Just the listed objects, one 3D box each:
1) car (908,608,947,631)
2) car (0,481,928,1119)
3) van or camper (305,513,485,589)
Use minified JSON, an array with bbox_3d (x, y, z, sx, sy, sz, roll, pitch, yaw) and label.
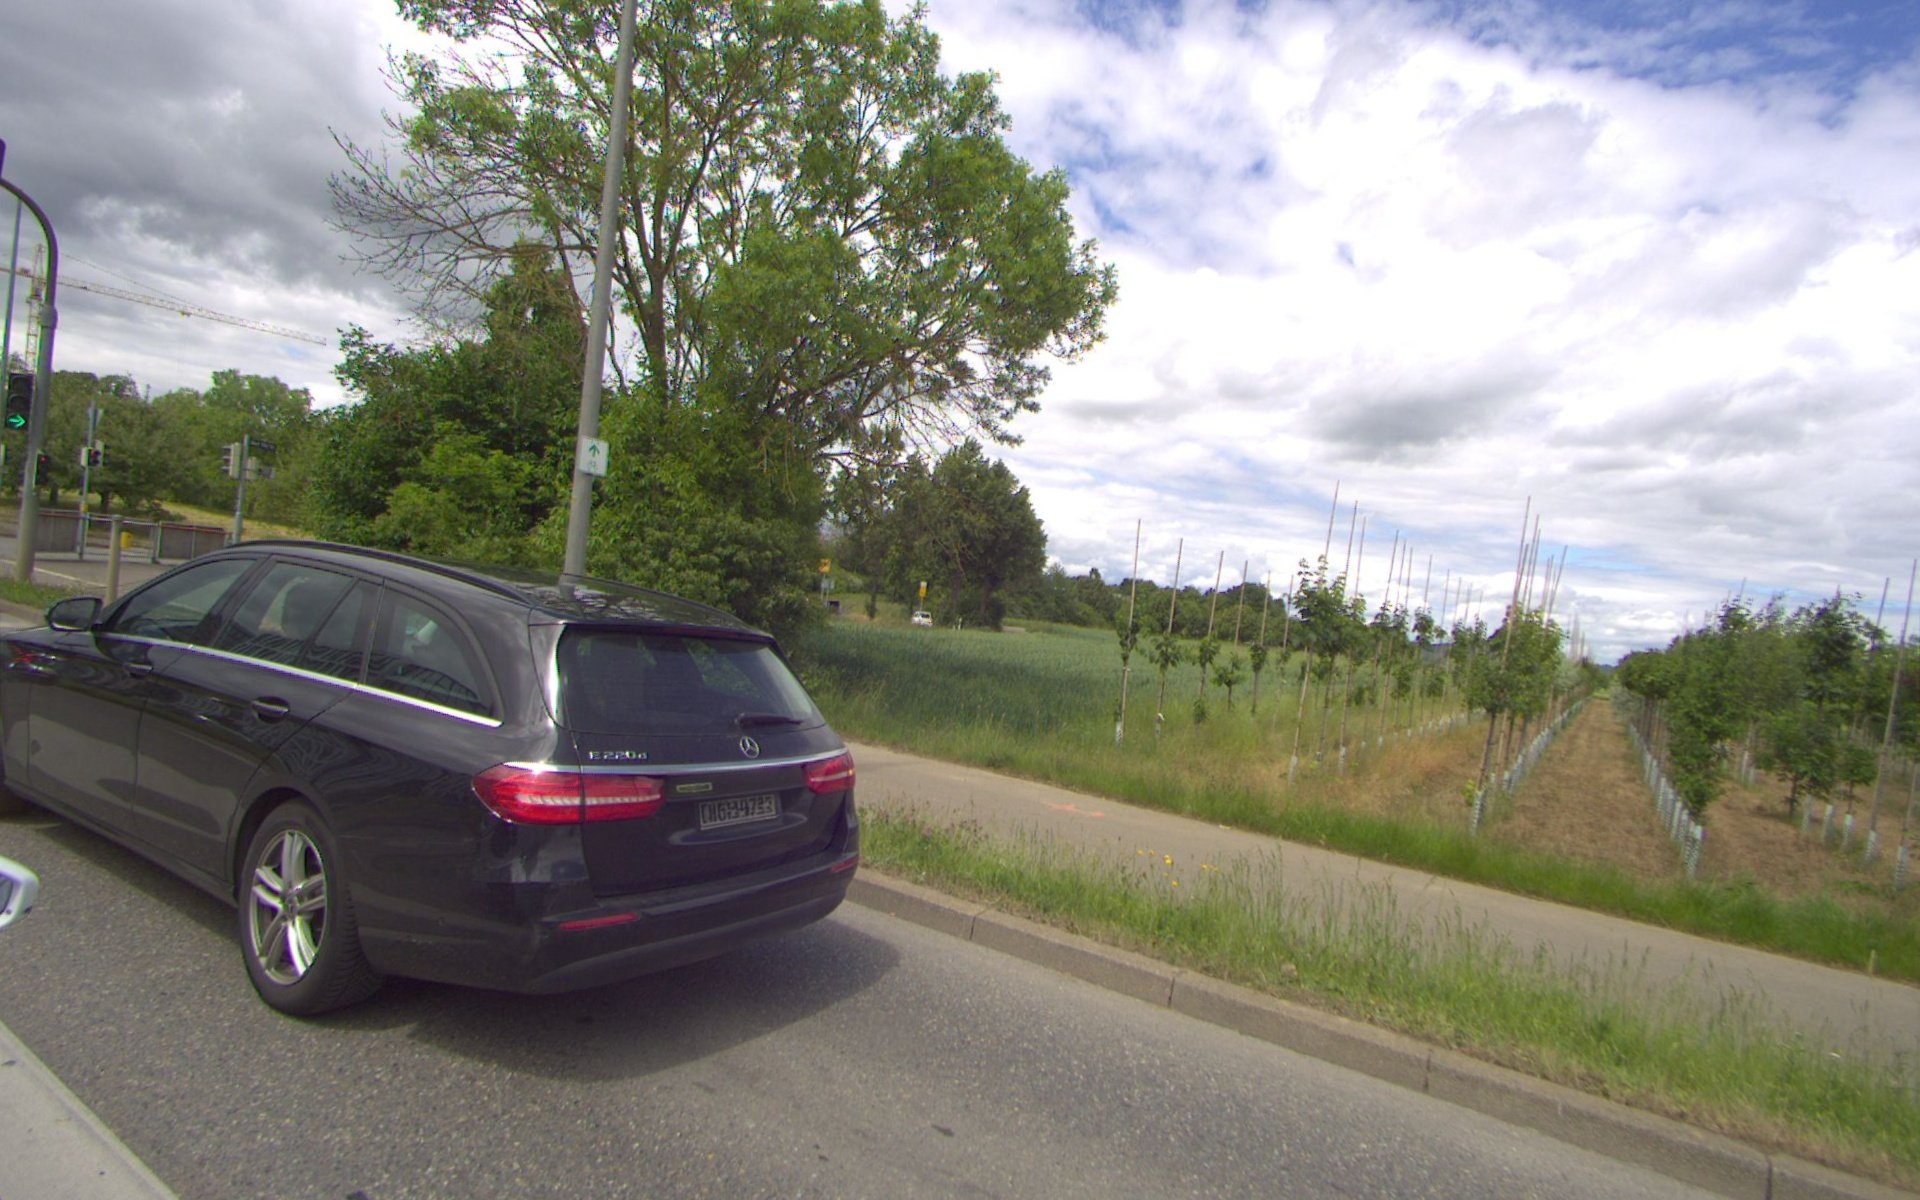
[{"bbox_3d":[-2.315,1.439,73.001,1.657,1.362,3.391,7,0,17],"label":"car"},{"bbox_3d":[-2.875,0.387,4.648,5.110,1.459,1.875,7,1,29],"label":"car"},{"bbox_3d":[-19.171,-1.610,34.377,1.966,1.882,4.935,7,0,30],"label":"van or camper"}]
